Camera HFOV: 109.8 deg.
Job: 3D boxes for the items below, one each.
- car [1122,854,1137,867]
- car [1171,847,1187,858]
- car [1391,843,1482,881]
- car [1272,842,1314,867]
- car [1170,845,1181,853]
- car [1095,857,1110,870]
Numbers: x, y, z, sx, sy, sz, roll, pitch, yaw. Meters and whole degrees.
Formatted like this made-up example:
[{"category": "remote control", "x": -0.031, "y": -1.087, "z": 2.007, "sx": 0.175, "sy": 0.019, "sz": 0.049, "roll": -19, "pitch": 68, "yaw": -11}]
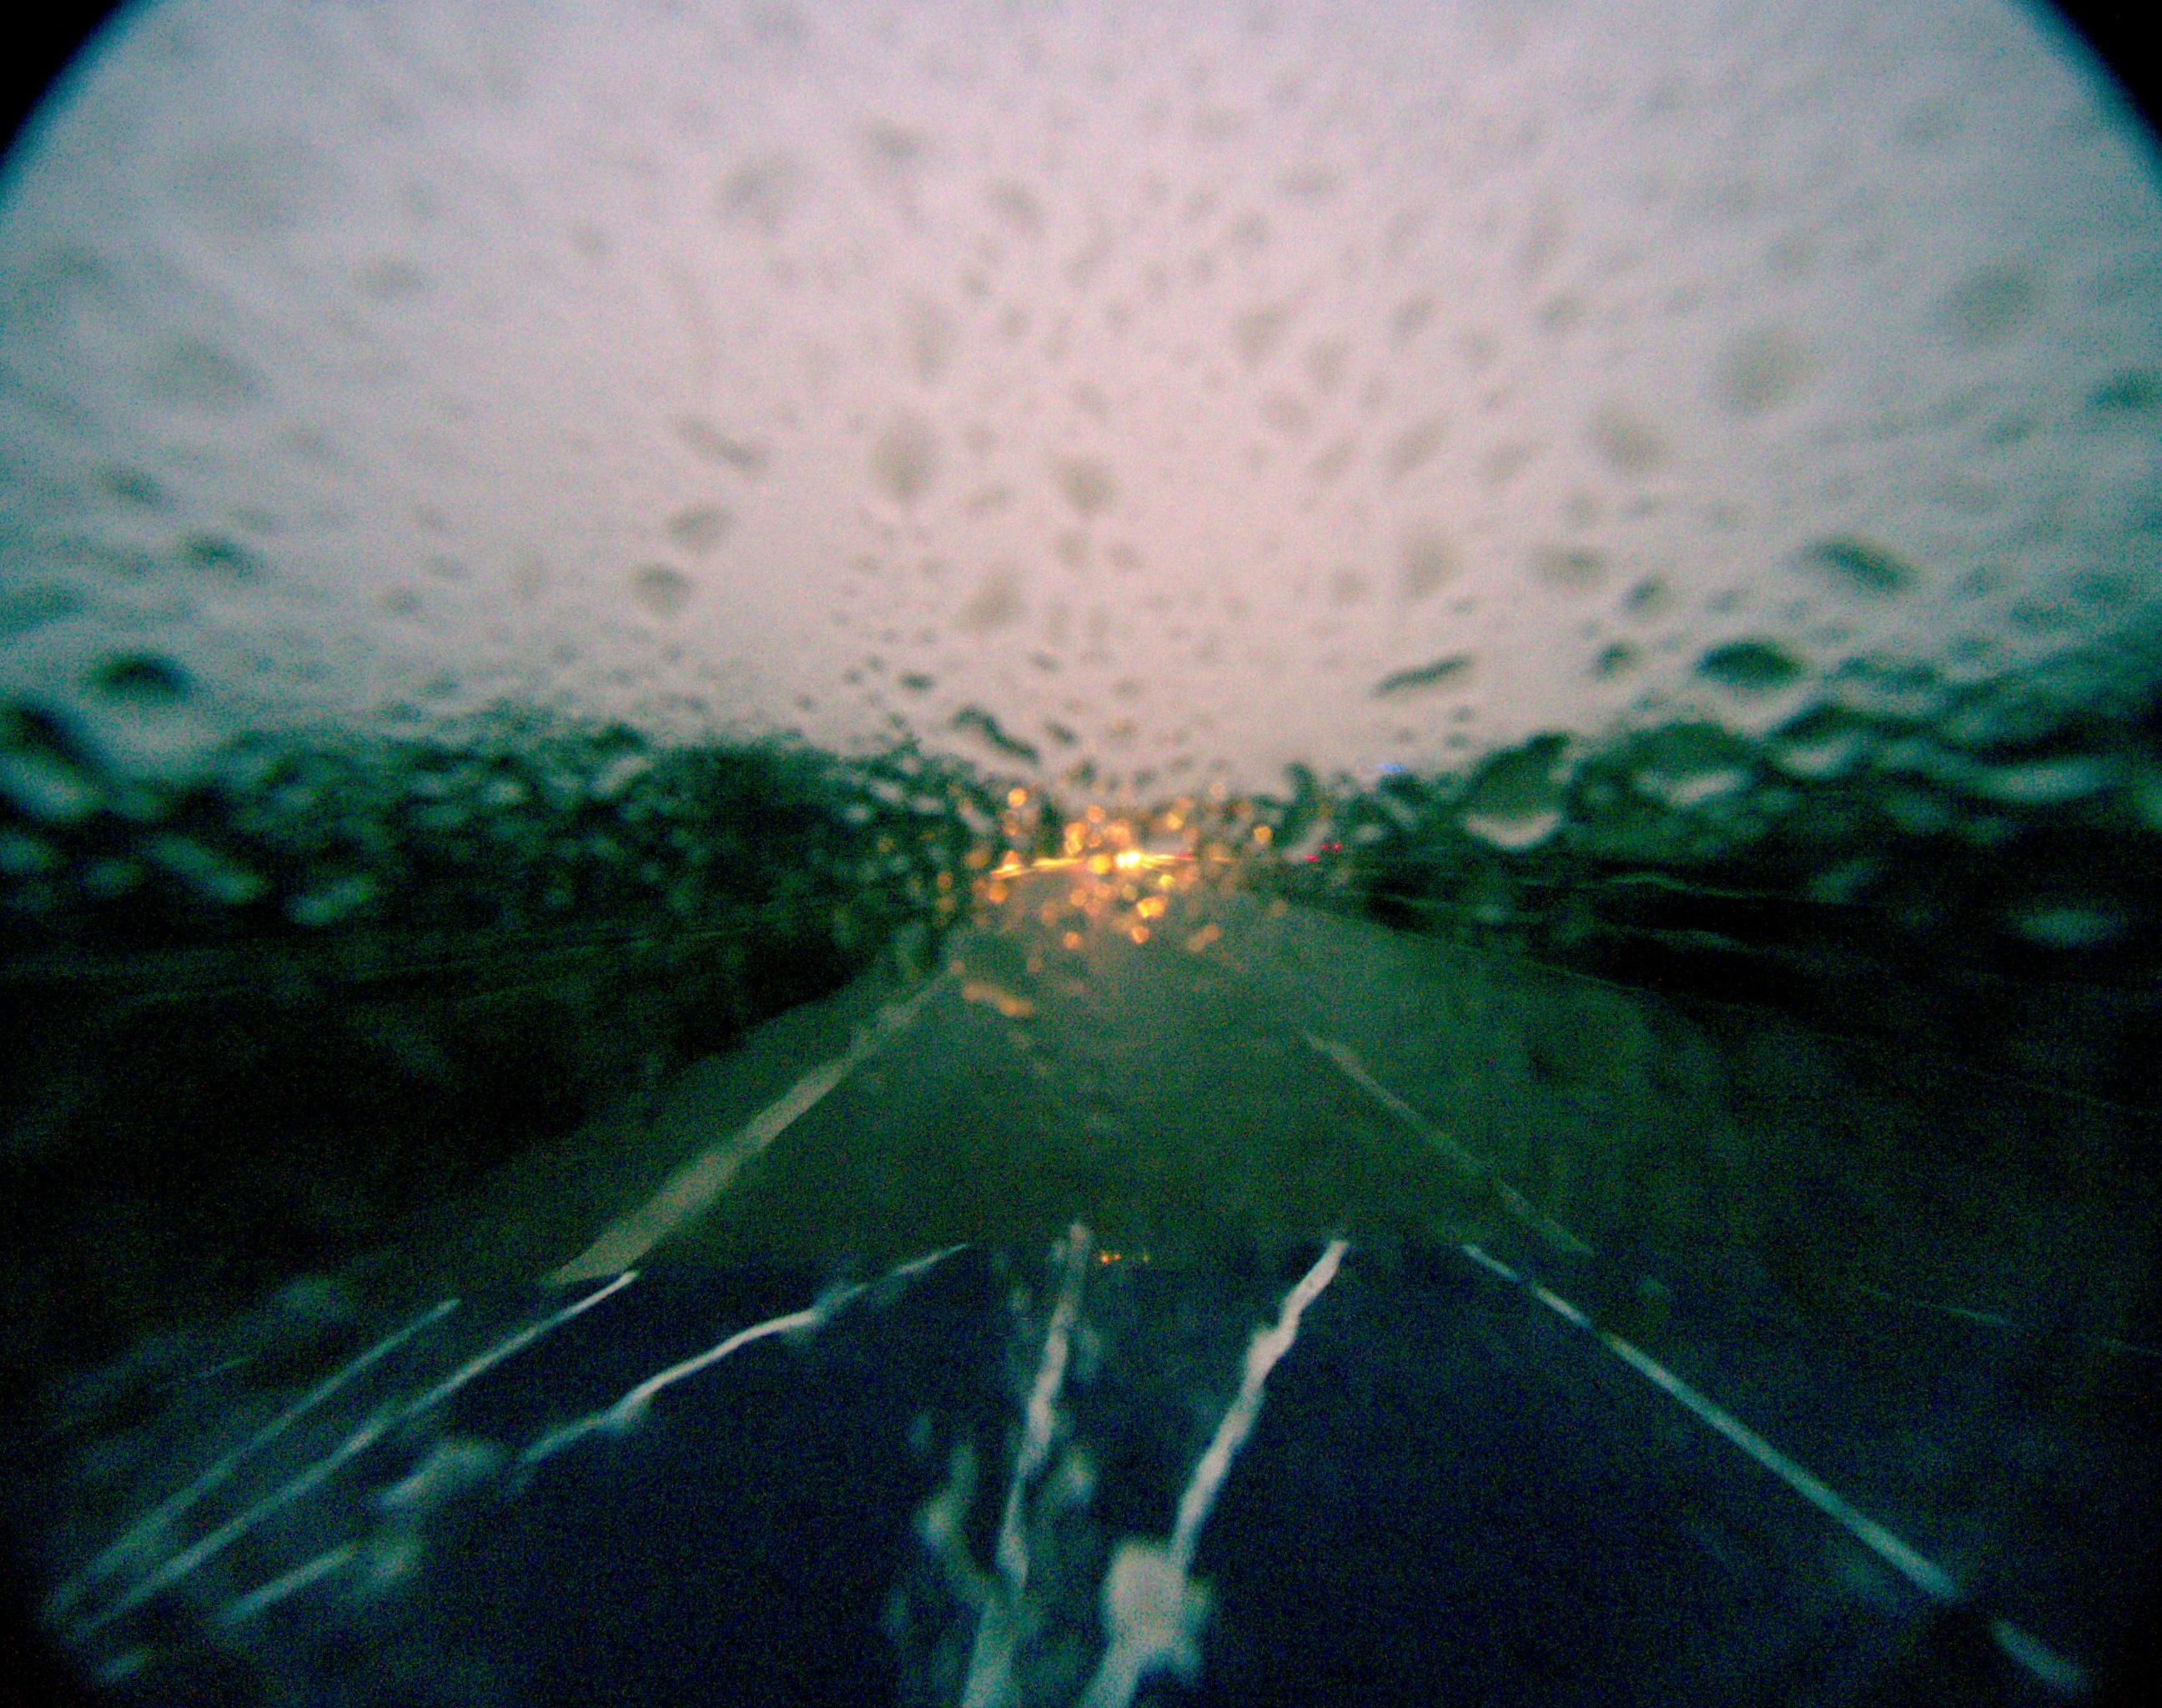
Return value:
[{"category": "car", "x": 8.092, "y": 1.099, "z": 126.896, "sx": 1.999, "sy": 2.002, "sz": 3.999, "roll": -5, "pitch": 0, "yaw": -2}, {"category": "car", "x": 15.416, "y": -0.268, "z": 119.483, "sx": 1.998, "sy": 1.563, "sz": 4.000, "roll": -3, "pitch": 1, "yaw": 1}, {"category": "car", "x": 12.581, "y": 0.243, "z": 27.144, "sx": 1.462, "sy": 1.180, "sz": 3.798, "roll": -3, "pitch": 1, "yaw": 0}, {"category": "car", "x": 14.486, "y": 0.004, "z": 52.103, "sx": 1.728, "sy": 1.582, "sz": 4.000, "roll": -4, "pitch": 1, "yaw": 1}, {"category": "car", "x": 20.319, "y": -1.094, "z": 163.562, "sx": 1.998, "sy": 1.563, "sz": 4.000, "roll": -3, "pitch": 1, "yaw": 1}, {"category": "car", "x": 2.579, "y": 1.134, "z": 91.685, "sx": 1.683, "sy": 1.401, "sz": 3.775, "roll": -4, "pitch": 0, "yaw": 1}]
